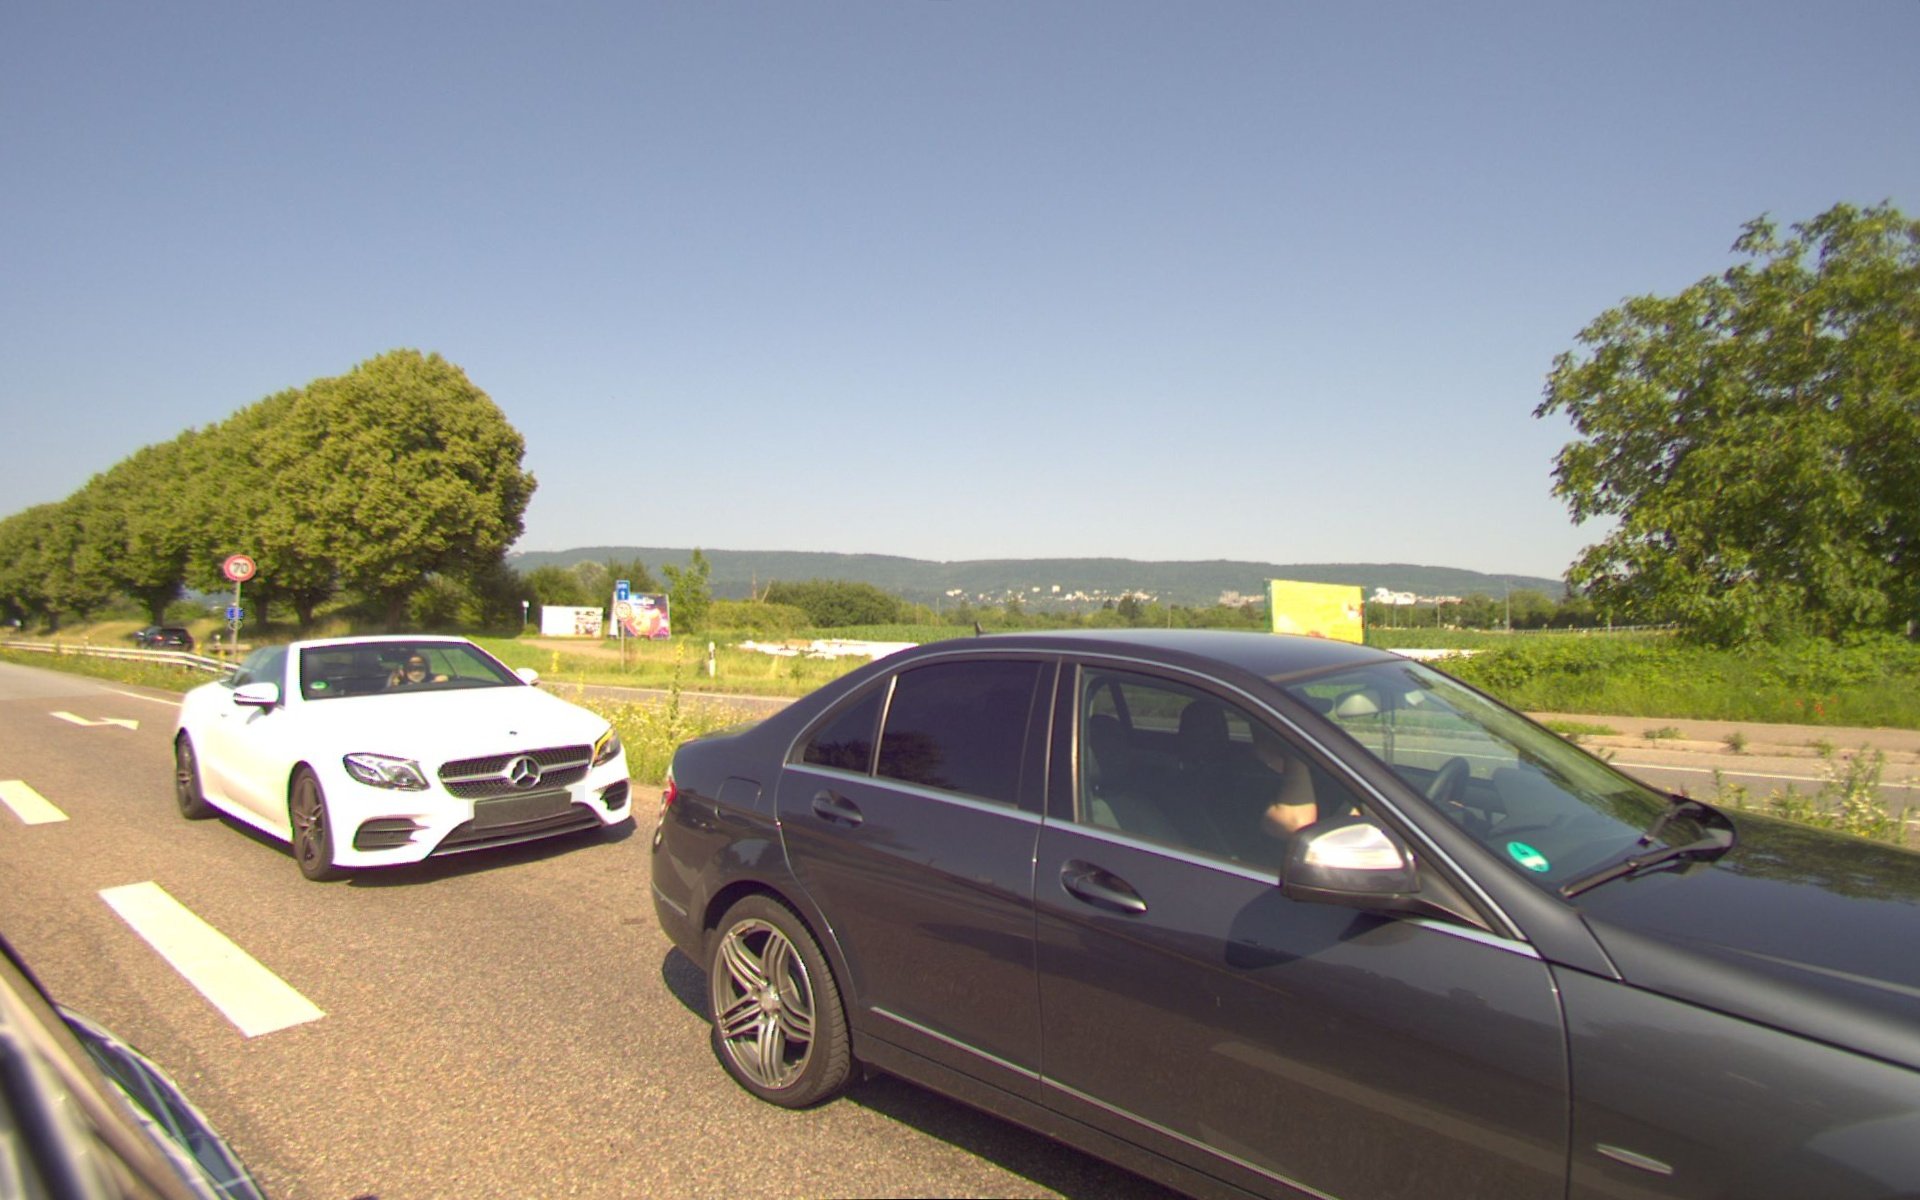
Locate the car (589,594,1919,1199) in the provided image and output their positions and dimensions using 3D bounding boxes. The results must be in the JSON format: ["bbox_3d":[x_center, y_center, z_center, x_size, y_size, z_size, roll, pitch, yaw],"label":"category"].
[{"bbox_3d":[0.890,0.735,2.740,4.353,1.421,1.696,-2,-1,42],"label":"car"}]

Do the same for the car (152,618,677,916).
[{"bbox_3d":[-4.092,0.874,7.176,4.639,1.436,1.784,-2,-1,41],"label":"car"}]

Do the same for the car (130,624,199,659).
[{"bbox_3d":[-44.667,2.331,56.792,4.949,1.855,1.973,-2,-4,39],"label":"car"}]
